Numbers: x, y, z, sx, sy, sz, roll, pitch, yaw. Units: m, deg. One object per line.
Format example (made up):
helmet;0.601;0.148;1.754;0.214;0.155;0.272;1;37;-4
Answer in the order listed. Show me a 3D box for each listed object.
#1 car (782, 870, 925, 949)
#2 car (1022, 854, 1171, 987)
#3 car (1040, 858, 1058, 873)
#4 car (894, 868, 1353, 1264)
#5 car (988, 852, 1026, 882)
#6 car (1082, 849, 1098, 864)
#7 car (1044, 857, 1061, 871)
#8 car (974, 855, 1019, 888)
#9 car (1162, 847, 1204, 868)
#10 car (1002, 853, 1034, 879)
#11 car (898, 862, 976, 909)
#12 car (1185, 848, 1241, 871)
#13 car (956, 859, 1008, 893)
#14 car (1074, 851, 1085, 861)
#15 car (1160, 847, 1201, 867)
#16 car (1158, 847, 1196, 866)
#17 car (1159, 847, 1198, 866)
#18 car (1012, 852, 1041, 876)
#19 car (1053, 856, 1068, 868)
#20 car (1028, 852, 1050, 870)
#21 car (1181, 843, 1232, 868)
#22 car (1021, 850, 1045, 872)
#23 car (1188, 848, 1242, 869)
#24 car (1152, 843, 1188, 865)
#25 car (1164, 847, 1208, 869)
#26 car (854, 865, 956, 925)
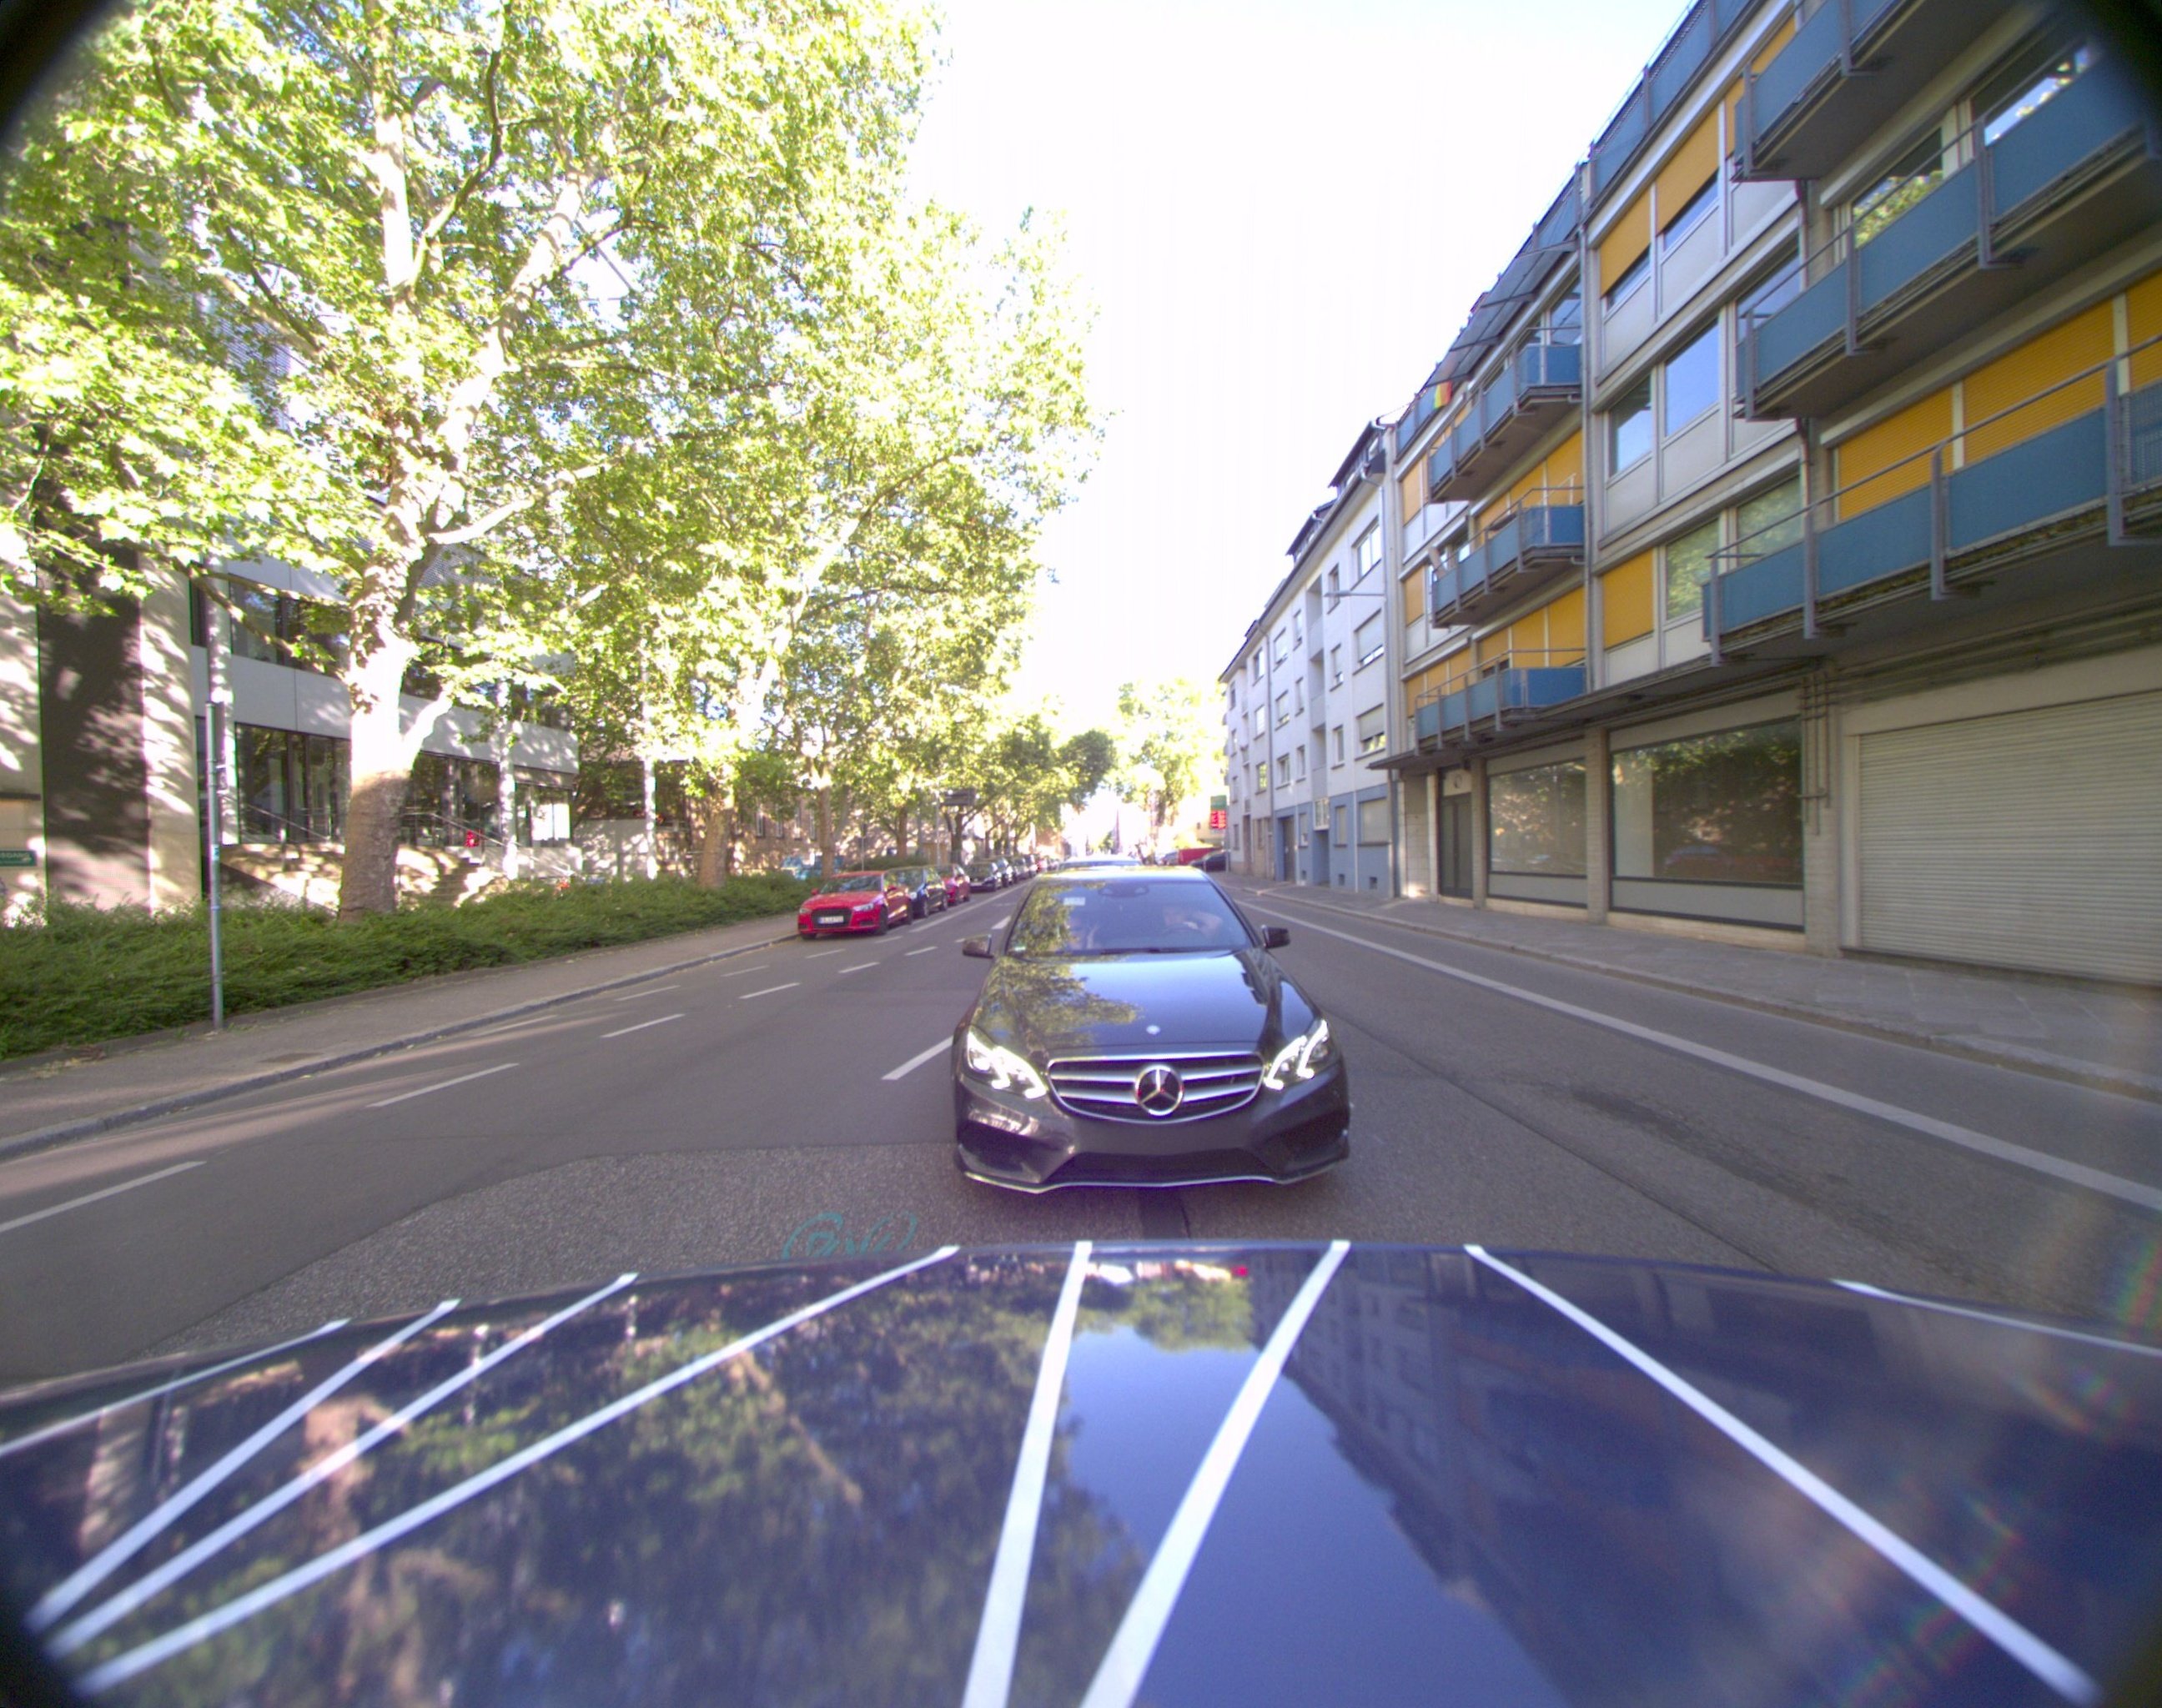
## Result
car;-5.100;1.176;17.730;1.866;1.442;4.481;-2;0;1
car;0.229;0.855;11.929;1.866;1.630;4.303;-2;0;1
car;-3.761;1.316;89.984;1.866;1.632;4.481;-2;0;1
car;0.209;0.930;5.406;1.866;1.492;4.481;-2;0;1
car;-4.629;0.780;48.132;1.866;1.749;4.481;-2;0;1
car;1.079;0.263;90.506;1.866;1.632;4.481;-2;0;1
car;-3.651;1.231;96.782;1.866;1.632;4.481;-2;0;1
car;-4.617;0.904;42.206;1.866;1.658;4.481;-2;0;1
car;10.336;0.337;77.145;3.996;1.936;2.000;-2;1;2
car;-4.499;0.815;54.799;1.866;1.749;4.481;-2;0;1
car;-5.083;1.063;27.424;1.866;1.442;4.481;-2;0;1
car;10.178;0.417;58.870;3.996;1.543;2.000;-2;1;2
car;-4.752;1.021;37.171;1.866;1.442;4.481;-2;0;1
car;-0.180;0.394;135.504;1.866;1.632;4.481;-2;0;1
car;10.464;0.300;79.996;3.996;1.936;2.000;-2;1;2
car;10.739;0.234;84.979;3.996;1.936;2.000;-2;1;2
car;10.594;0.267;82.485;3.996;1.936;2.000;-2;1;2
car;-4.241;0.752;59.755;1.866;1.749;4.481;-2;0;1
car;-2.819;1.105;105.189;1.866;1.632;4.481;-2;0;1
car;-4.195;0.700;76.277;1.866;1.632;4.481;-2;0;1
car;10.552;0.148;64.023;3.996;1.936;2.000;-2;1;2
car;-4.403;0.612;70.352;1.866;1.945;4.481;-2;0;1
car;10.719;0.370;61.192;3.996;1.543;2.000;-2;1;2
car;10.493;-0.005;89.506;3.996;2.505;2.000;-2;1;2
car;10.252;0.370;74.504;3.996;1.936;2.000;-2;1;2
car;-5.039;1.122;22.380;1.866;1.442;4.481;-2;0;1
